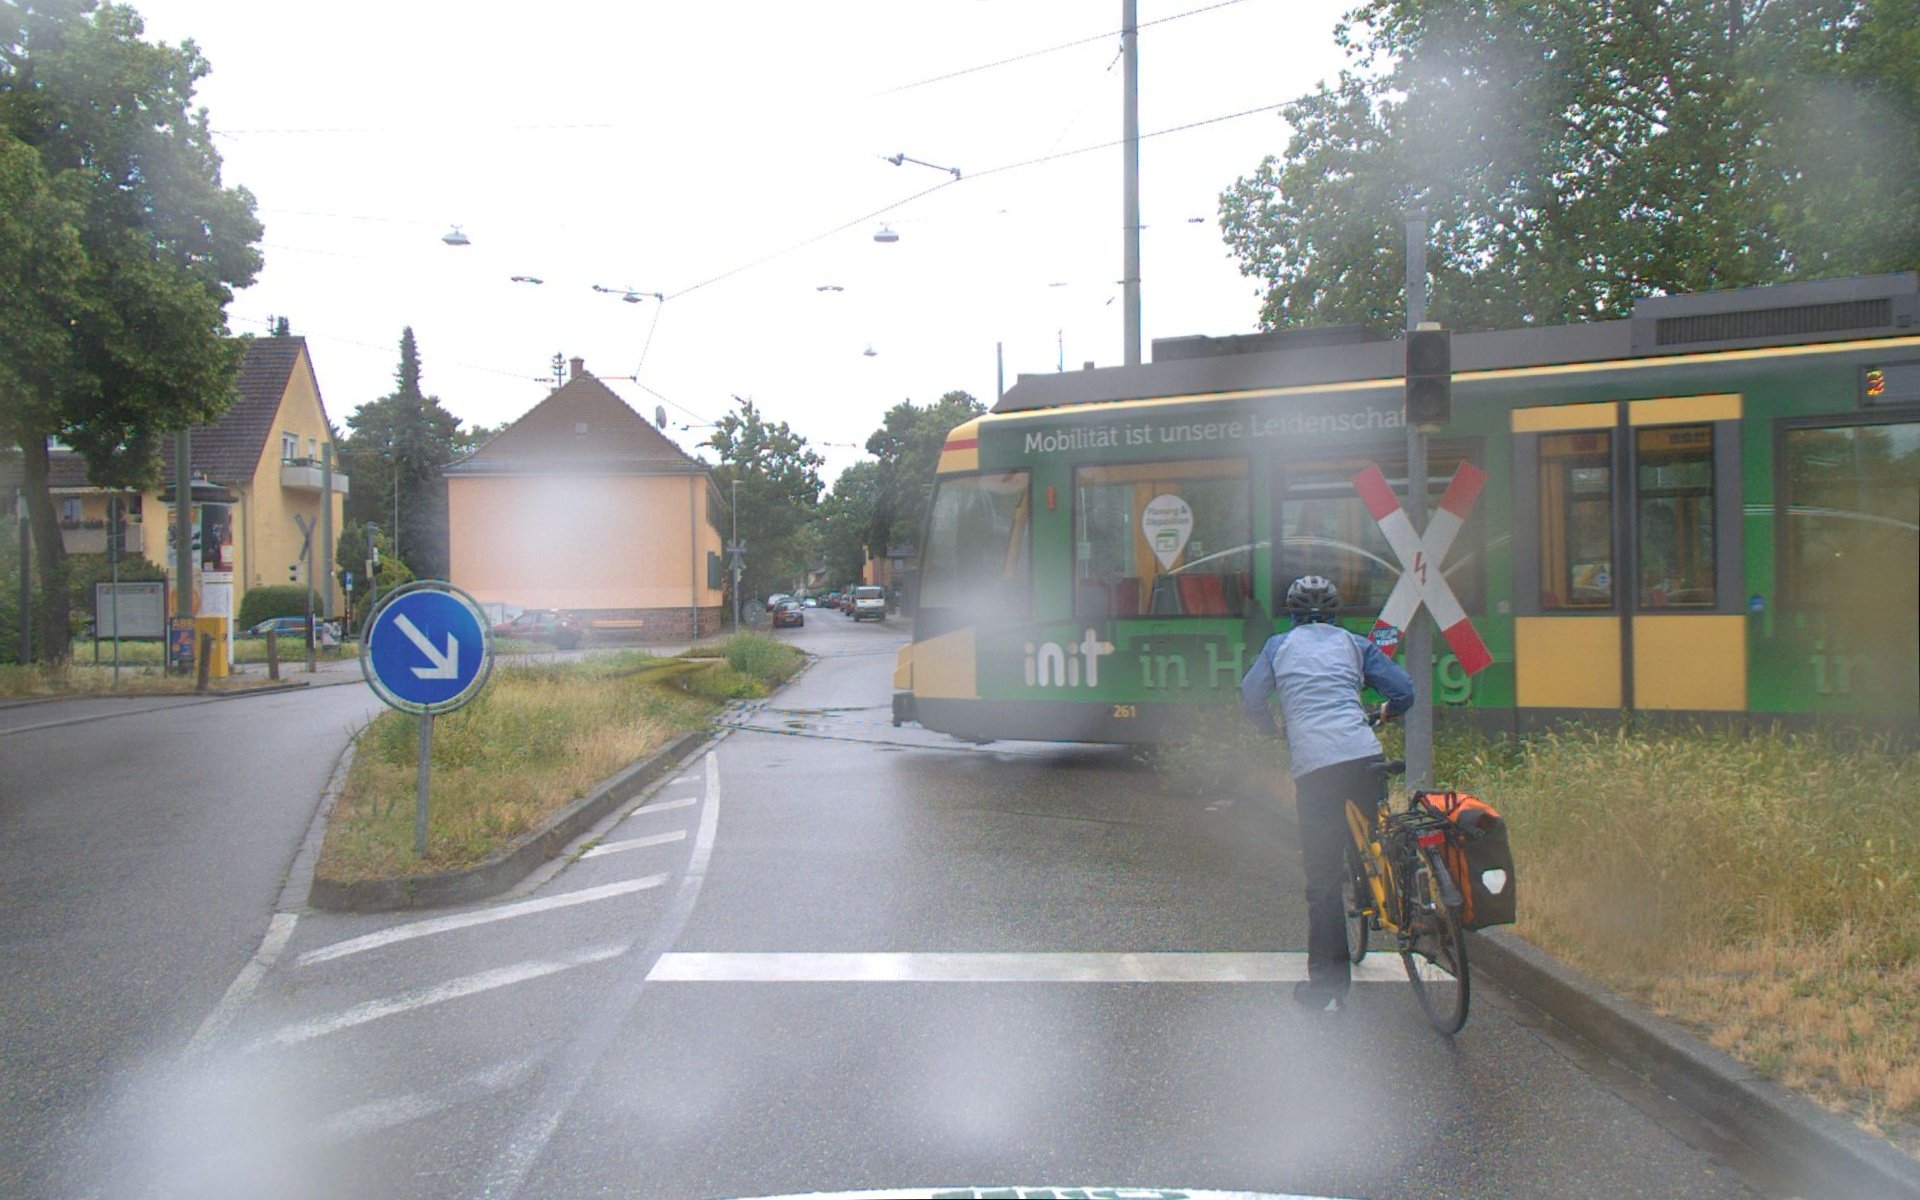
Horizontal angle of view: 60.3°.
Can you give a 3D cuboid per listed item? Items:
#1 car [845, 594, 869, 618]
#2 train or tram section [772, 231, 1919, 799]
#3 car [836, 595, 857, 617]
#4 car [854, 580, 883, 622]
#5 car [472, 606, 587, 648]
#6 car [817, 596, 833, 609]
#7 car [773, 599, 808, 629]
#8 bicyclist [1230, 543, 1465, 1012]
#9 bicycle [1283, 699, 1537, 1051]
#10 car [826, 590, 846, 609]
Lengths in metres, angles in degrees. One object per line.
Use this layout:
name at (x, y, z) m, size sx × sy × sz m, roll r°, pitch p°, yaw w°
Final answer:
car at (-7.963, 0.463, 127.799) m, size 1.768 × 1.843 × 3.998 m, roll 1°, pitch 0°, yaw -3°
train or tram section at (4.595, -0.507, 12.965) m, size 12.842 × 3.615 × 2.765 m, roll -1°, pitch 0°, yaw 29°
car at (-10.073, 0.543, 147.251) m, size 1.768 × 1.843 × 3.998 m, roll 1°, pitch 0°, yaw -3°
car at (-5.950, 0.096, 107.958) m, size 1.768 × 2.673 × 3.998 m, roll 1°, pitch 0°, yaw -3°
car at (-16.185, 1.016, 62.334) m, size 3.911 × 1.482 × 1.831 m, roll 1°, pitch 0°, yaw -7°
car at (-17.224, 0.294, 210.987) m, size 1.768 × 1.591 × 3.998 m, roll 1°, pitch 0°, yaw -3°
car at (-9.793, 0.787, 95.548) m, size 1.768 × 1.680 × 3.998 m, roll 1°, pitch 0°, yaw -3°
bicyclist at (1.449, 0.633, 6.300) m, size 0.653 × 1.654 × 0.852 m, roll 1°, pitch -1°, yaw -2°
bicycle at (1.643, 0.951, 6.278) m, size 0.437 × 1.022 × 1.727 m, roll -1°, pitch 1°, yaw -2°
car at (-12.315, -0.024, 164.452) m, size 1.768 × 1.843 × 3.998 m, roll 1°, pitch 0°, yaw -3°
